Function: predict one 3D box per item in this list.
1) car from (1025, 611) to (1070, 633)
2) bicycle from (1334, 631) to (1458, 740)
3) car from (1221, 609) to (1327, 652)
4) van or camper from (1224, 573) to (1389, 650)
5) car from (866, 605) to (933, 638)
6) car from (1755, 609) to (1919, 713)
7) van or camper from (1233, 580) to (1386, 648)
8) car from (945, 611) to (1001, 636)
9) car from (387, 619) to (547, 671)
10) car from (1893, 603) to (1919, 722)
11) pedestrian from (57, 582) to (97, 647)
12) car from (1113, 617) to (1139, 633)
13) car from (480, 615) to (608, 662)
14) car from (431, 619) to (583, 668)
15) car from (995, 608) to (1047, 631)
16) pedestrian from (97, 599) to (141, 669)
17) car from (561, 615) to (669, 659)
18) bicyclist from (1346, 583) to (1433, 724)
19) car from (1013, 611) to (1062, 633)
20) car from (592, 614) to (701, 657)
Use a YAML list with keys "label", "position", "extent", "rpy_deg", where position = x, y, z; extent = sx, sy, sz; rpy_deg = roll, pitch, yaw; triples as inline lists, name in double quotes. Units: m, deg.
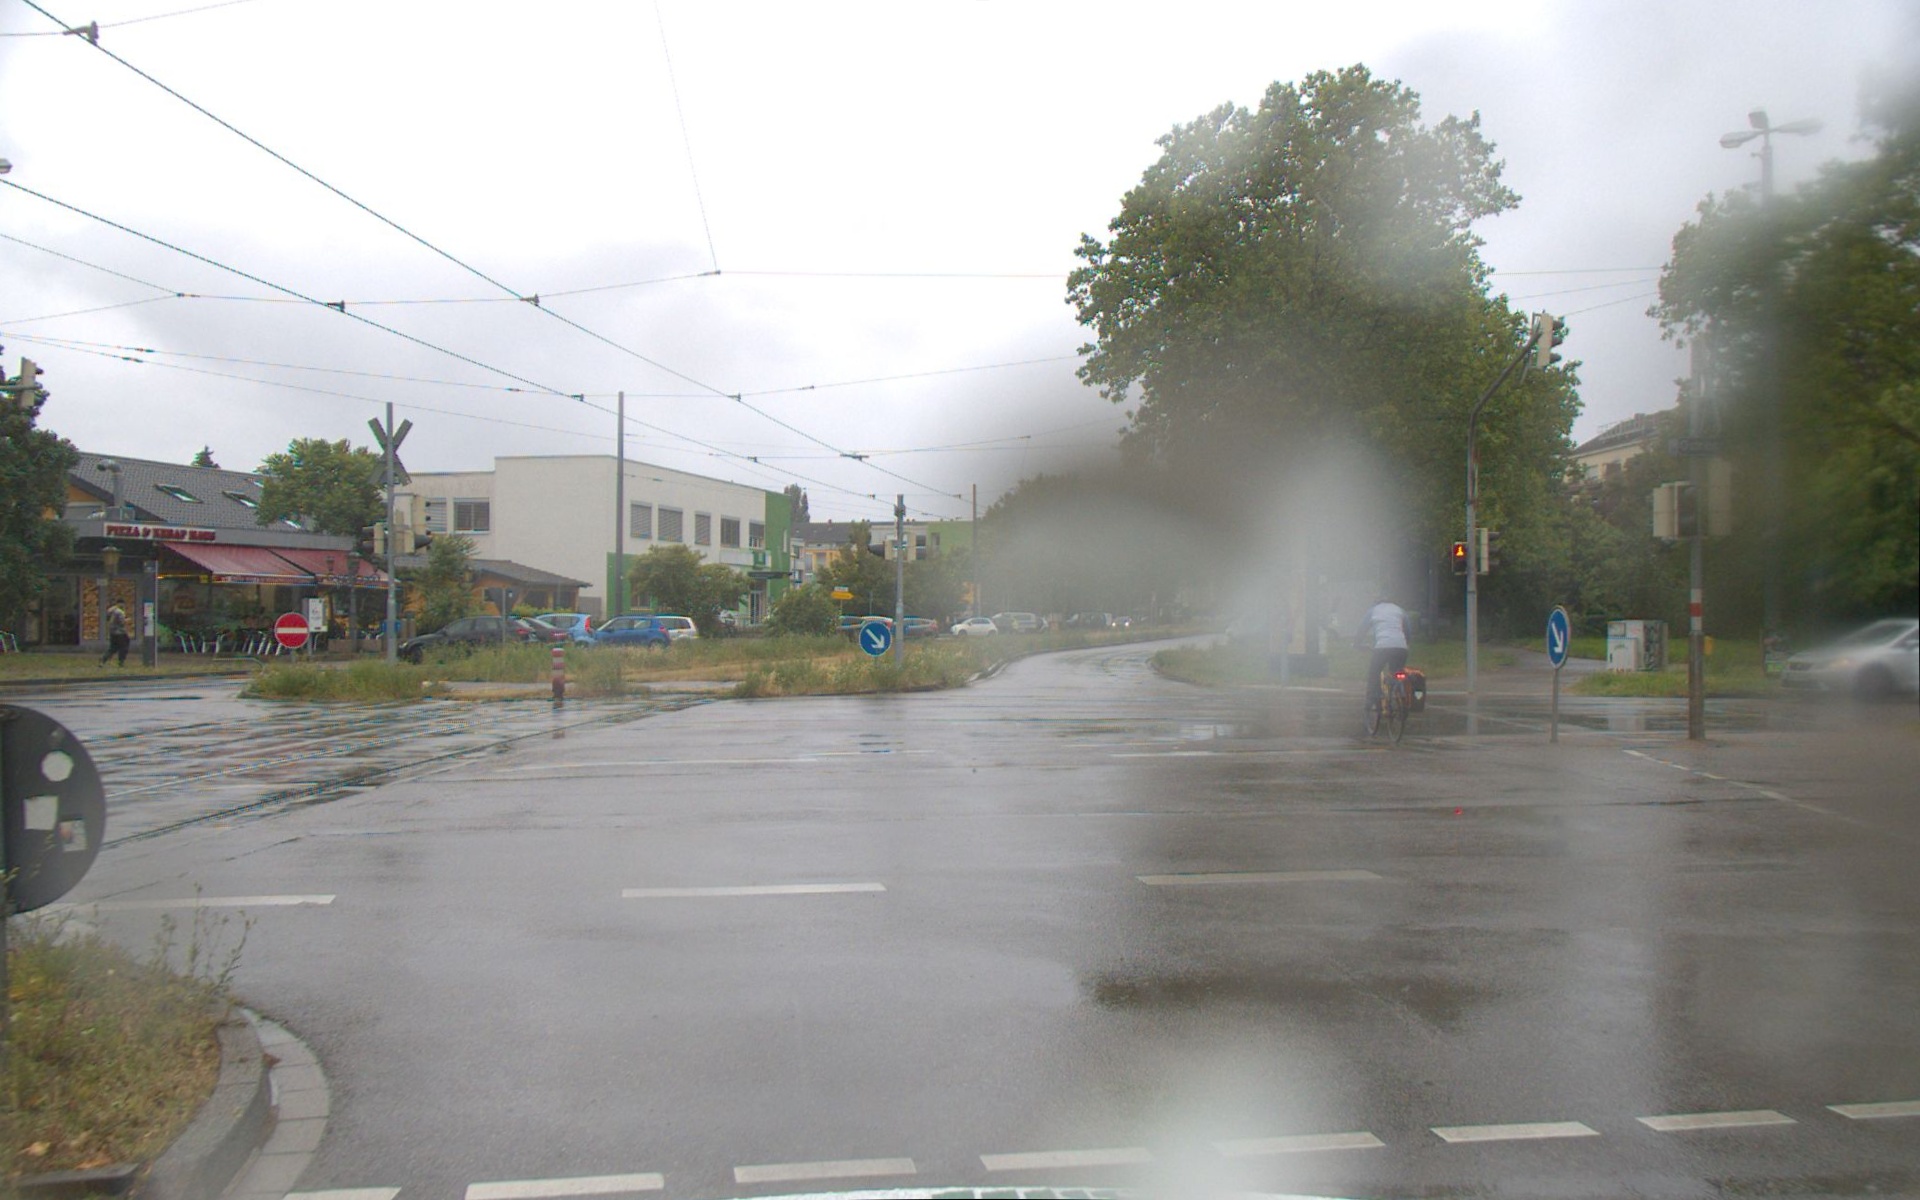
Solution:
- label: "car"
  position: [8.093, 2.036, 153.188]
  extent: [3.913, 1.864, 1.996]
  rpy_deg: [1, -1, -9]
- label: "bicycle"
  position: [4.792, 0.913, 18.299]
  extent: [0.677, 1.136, 1.882]
  rpy_deg: [1, -1, -7]
- label: "car"
  position: [13.716, 1.331, 72.150]
  extent: [4.350, 1.747, 2.001]
  rpy_deg: [1, -1, 17]
- label: "van or camper"
  position: [15.759, 0.518, 75.168]
  extent: [7.166, 3.234, 3.265]
  rpy_deg: [1, -1, 14]
- label: "car"
  position: [-3.771, 1.347, 103.261]
  extent: [3.915, 1.921, 1.995]
  rpy_deg: [1, -1, -11]
- label: "car"
  position: [16.535, 1.070, 29.084]
  extent: [4.313, 1.721, 1.930]
  rpy_deg: [1, -1, -11]
- label: "van or camper"
  position: [17.804, 0.716, 84.059]
  extent: [7.270, 3.234, 3.263]
  rpy_deg: [1, -1, 18]
- label: "car"
  position: [0.937, 1.695, 120.417]
  extent: [3.710, 1.732, 1.830]
  rpy_deg: [1, -1, -14]
- label: "car"
  position: [-15.235, 1.387, 51.232]
  extent: [4.388, 1.443, 1.857]
  rpy_deg: [-2, -1, -3]
- label: "car"
  position: [17.214, 1.019, 25.739]
  extent: [4.510, 1.860, 1.930]
  rpy_deg: [1, -1, -11]
- label: "pedestrian"
  position: [-28.121, 0.467, 52.679]
  extent: [0.776, 2.049, 0.725]
  rpy_deg: [1, -1, 21]
- label: "car"
  position: [17.589, 2.640, 175.556]
  extent: [1.851, 1.691, 4.001]
  rpy_deg: [1, -1, 19]
- label: "car"
  position: [-14.329, 1.317, 57.100]
  extent: [3.905, 1.609, 1.858]
  rpy_deg: [0, -1, 0]
- label: "car"
  position: [-14.656, 1.407, 53.686]
  extent: [4.407, 1.443, 1.857]
  rpy_deg: [-1, -1, -3]
- label: "car"
  position: [5.120, 1.654, 138.857]
  extent: [3.921, 1.789, 2.002]
  rpy_deg: [1, -1, -16]
- label: "pedestrian"
  position: [-22.470, 0.899, 44.193]
  extent: [0.870, 1.829, 0.723]
  rpy_deg: [2, 0, 41]
- label: "car"
  position: [-12.990, 1.365, 62.214]
  extent: [3.921, 1.609, 1.922]
  rpy_deg: [0, -1, -15]
- label: "bicyclist"
  position: [4.778, 0.591, 18.438]
  extent: [0.677, 1.532, 0.843]
  rpy_deg: [1, -1, -7]
- label: "car"
  position: [6.925, 1.943, 148.018]
  extent: [3.921, 1.864, 1.992]
  rpy_deg: [1, -1, -16]
- label: "car"
  position: [-12.393, 1.393, 65.423]
  extent: [4.045, 1.670, 1.920]
  rpy_deg: [0, -1, -18]
